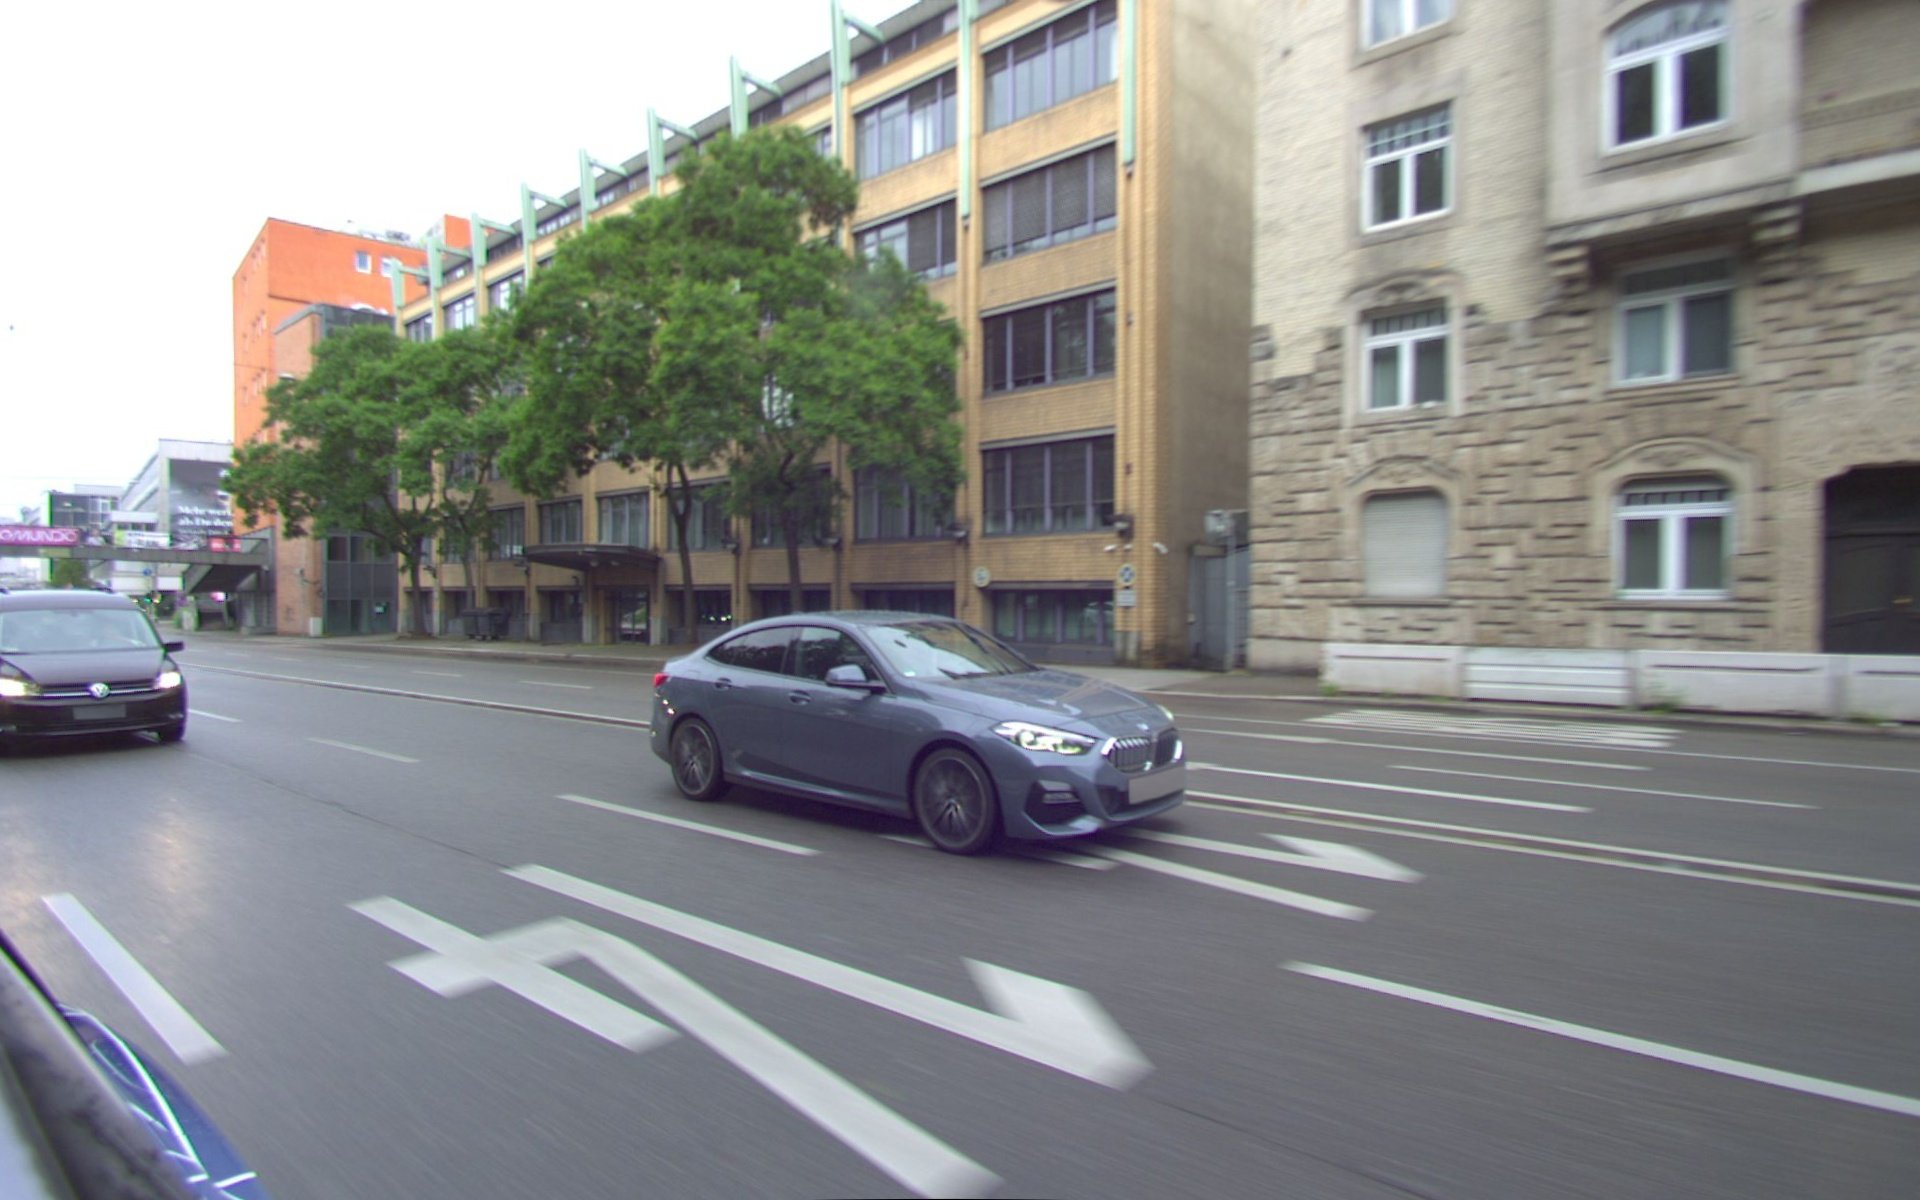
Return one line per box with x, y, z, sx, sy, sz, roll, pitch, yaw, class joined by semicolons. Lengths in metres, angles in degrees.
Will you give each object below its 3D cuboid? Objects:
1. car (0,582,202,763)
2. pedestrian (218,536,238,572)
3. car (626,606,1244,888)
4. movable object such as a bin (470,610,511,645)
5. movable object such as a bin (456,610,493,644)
-10.548;0.770;11.943;3.999;1.805;1.818;-2;-2;42;car
-48.053;-3.023;66.422;0.737;2.272;0.823;0;-1;35;pedestrian
-0.446;0.776;7.269;4.537;1.426;1.648;-1;-1;41;car
-20.396;1.170;43.925;1.370;1.447;1.058;-1;1;36;movable object such as a bin
-21.471;1.201;44.746;1.311;1.447;0.964;-1;1;36;movable object such as a bin
